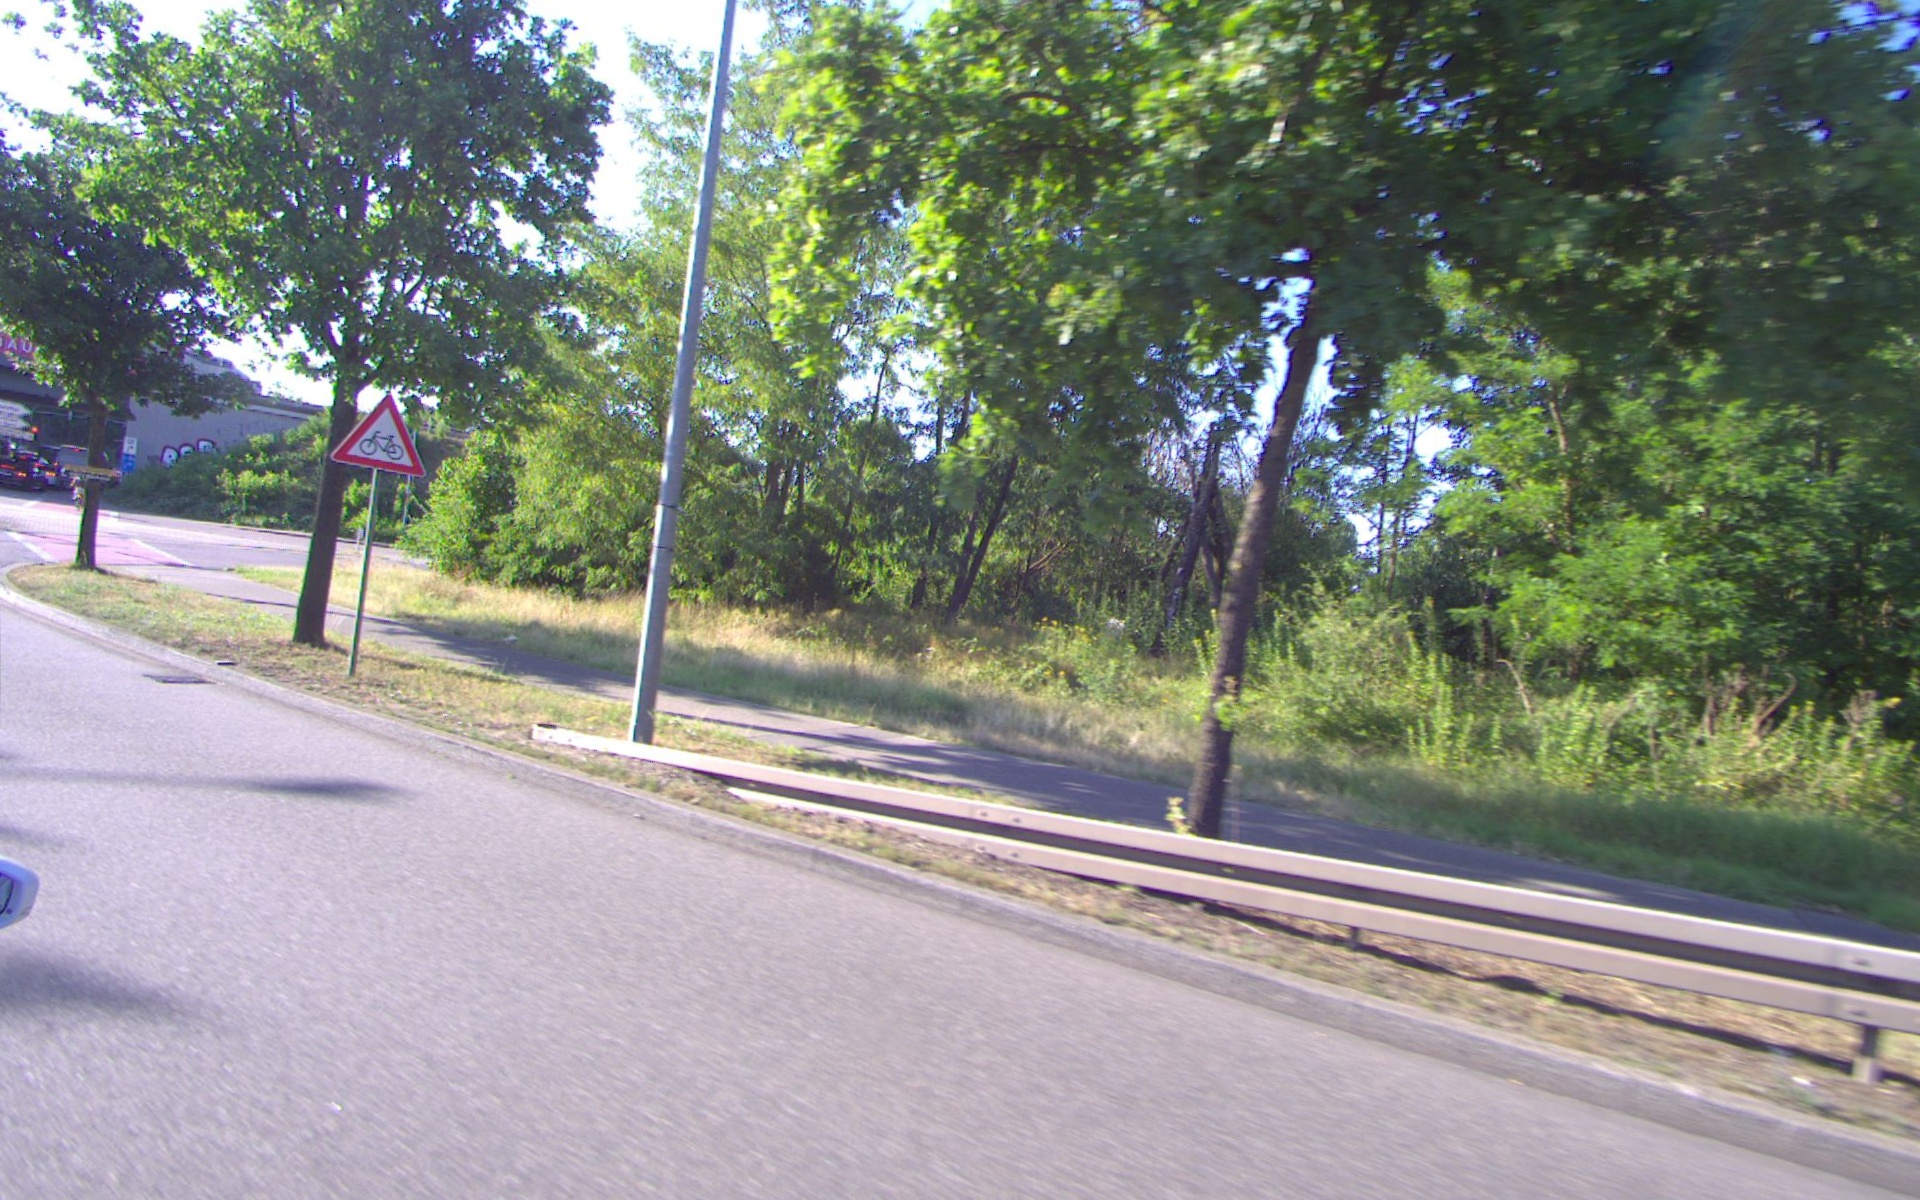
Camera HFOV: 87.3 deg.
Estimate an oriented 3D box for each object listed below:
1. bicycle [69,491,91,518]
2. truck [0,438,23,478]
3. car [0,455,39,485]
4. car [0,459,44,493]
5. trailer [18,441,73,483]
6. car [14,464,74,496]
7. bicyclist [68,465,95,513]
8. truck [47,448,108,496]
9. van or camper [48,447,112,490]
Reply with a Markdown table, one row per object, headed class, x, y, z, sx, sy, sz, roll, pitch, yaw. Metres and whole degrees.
| class | x | y | z | sx | sy | sz | roll | pitch | yaw |
| --- | --- | --- | --- | --- | --- | --- | --- | --- | --- |
| bicycle | -37.134 | -4.055 | 42.442 | 0.577 | 0.975 | 2.851 | 7 | 1 | -42 |
| truck | -66.563 | -9.917 | 68.896 | 2.013 | 2.588 | 5.494 | 8 | 0 | -29 |
| car | -62.353 | -8.592 | 66.256 | 1.570 | 1.550 | 3.801 | 9 | 0 | -30 |
| car | -50.294 | -6.592 | 53.261 | 1.730 | 1.472 | 4.563 | 9 | 1 | -32 |
| trailer | -65.497 | -9.832 | 72.111 | 1.849 | 2.496 | 3.803 | 6 | 1 | -28 |
| car | -54.239 | -7.079 | 59.651 | 1.759 | 1.514 | 3.800 | 7 | 1 | -30 |
| bicyclist | -37.110 | -4.685 | 42.488 | 0.679 | 1.930 | 0.823 | 7 | 1 | -42 |
| truck | -58.117 | -8.367 | 66.335 | 2.096 | 2.550 | 4.365 | 7 | 0 | -31 |
| van or camper | -67.581 | -10.073 | 77.348 | 1.976 | 2.602 | 5.878 | 8 | 0 | -26 |
